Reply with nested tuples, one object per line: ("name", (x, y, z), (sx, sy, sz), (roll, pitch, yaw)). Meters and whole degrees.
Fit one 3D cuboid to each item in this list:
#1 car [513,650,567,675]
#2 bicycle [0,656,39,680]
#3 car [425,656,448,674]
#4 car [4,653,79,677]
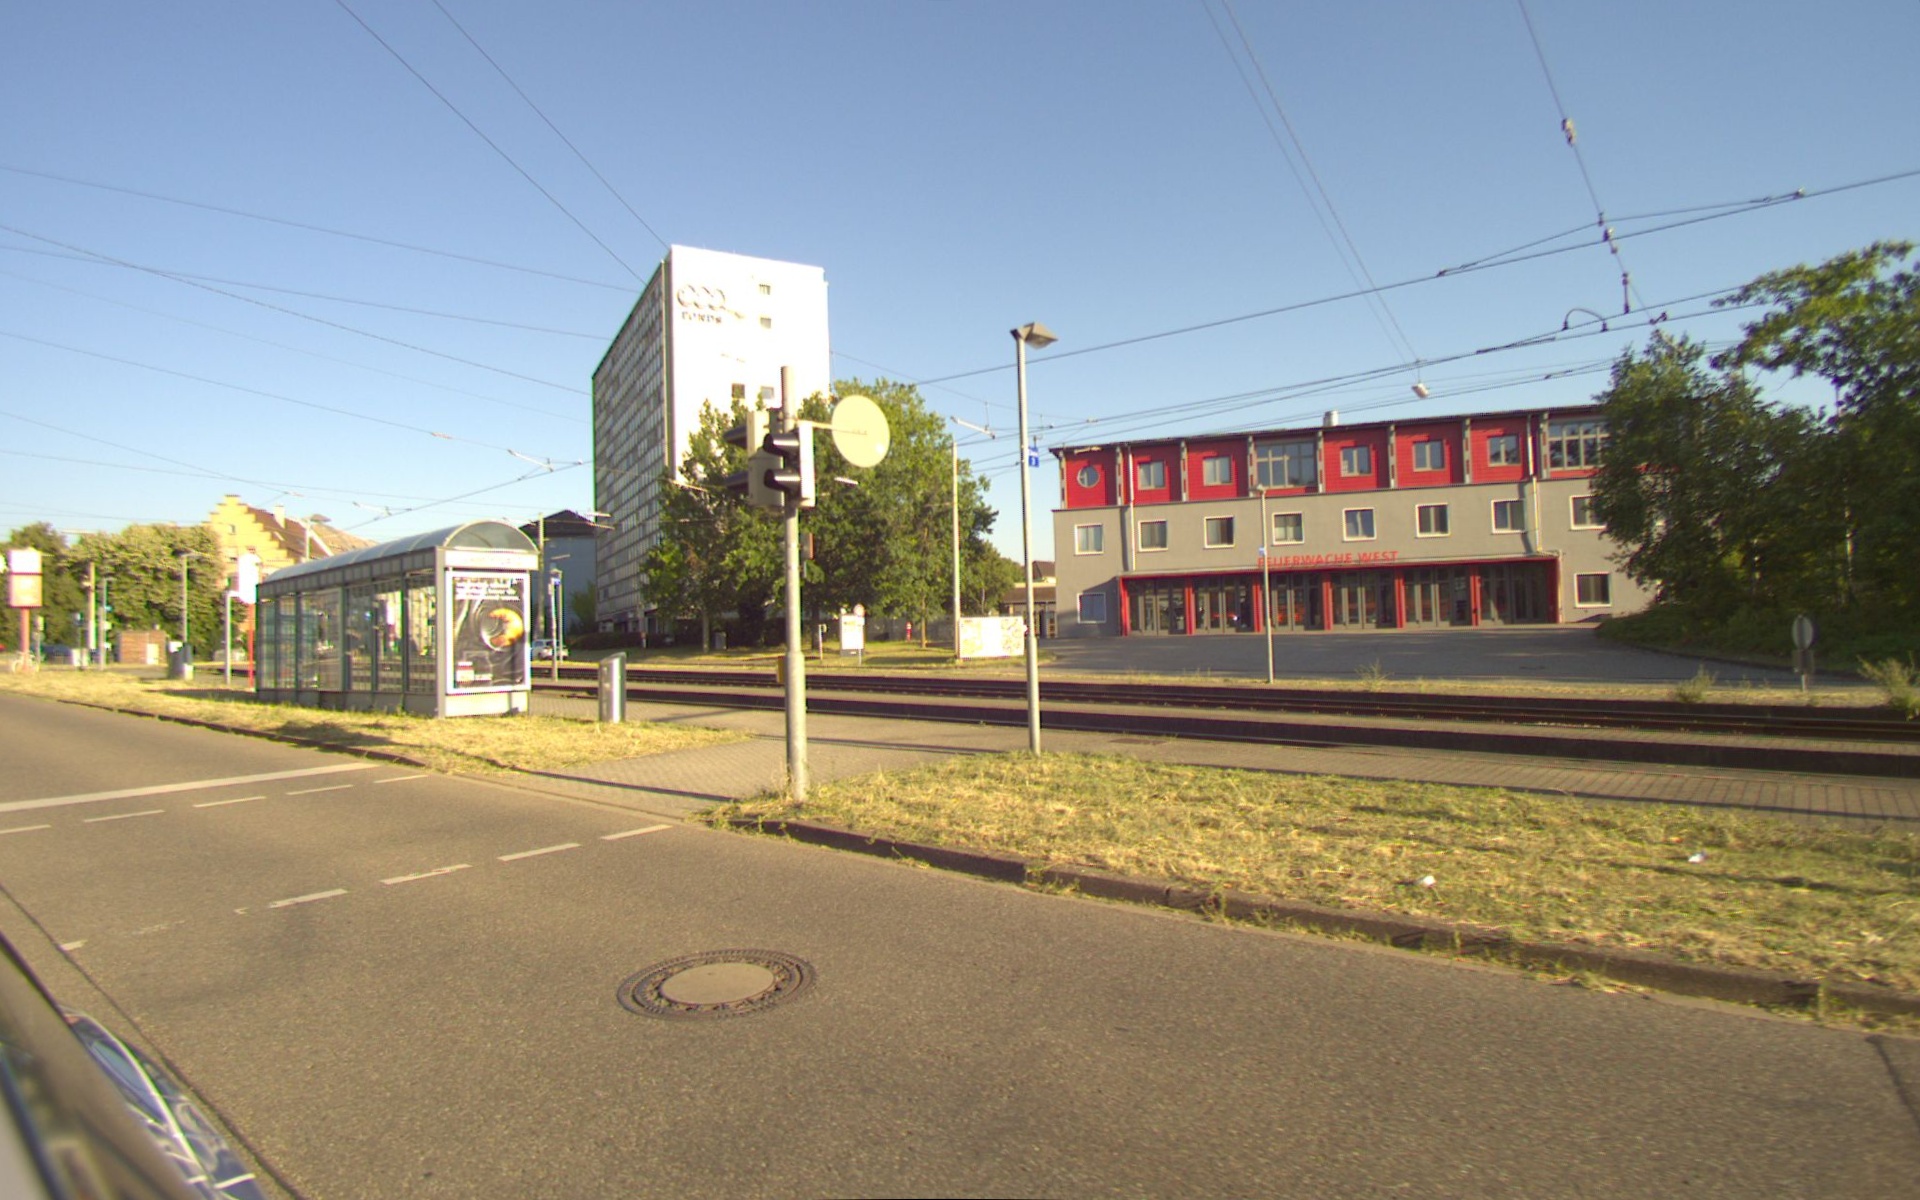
("car", (-28.335, 4.223, 68.159), (4.436, 1.560, 1.717), (-4, -3, 43))
("bicycle", (-40.733, 2.932, 43.848), (0.597, 1.001, 1.752), (0, -3, -20))
("car", (-46.769, 5.771, 90.306), (1.712, 1.485, 4.142), (0, -3, -29))
("car", (-63.196, 4.465, 69.717), (1.716, 1.485, 3.980), (-1, -2, -3))
